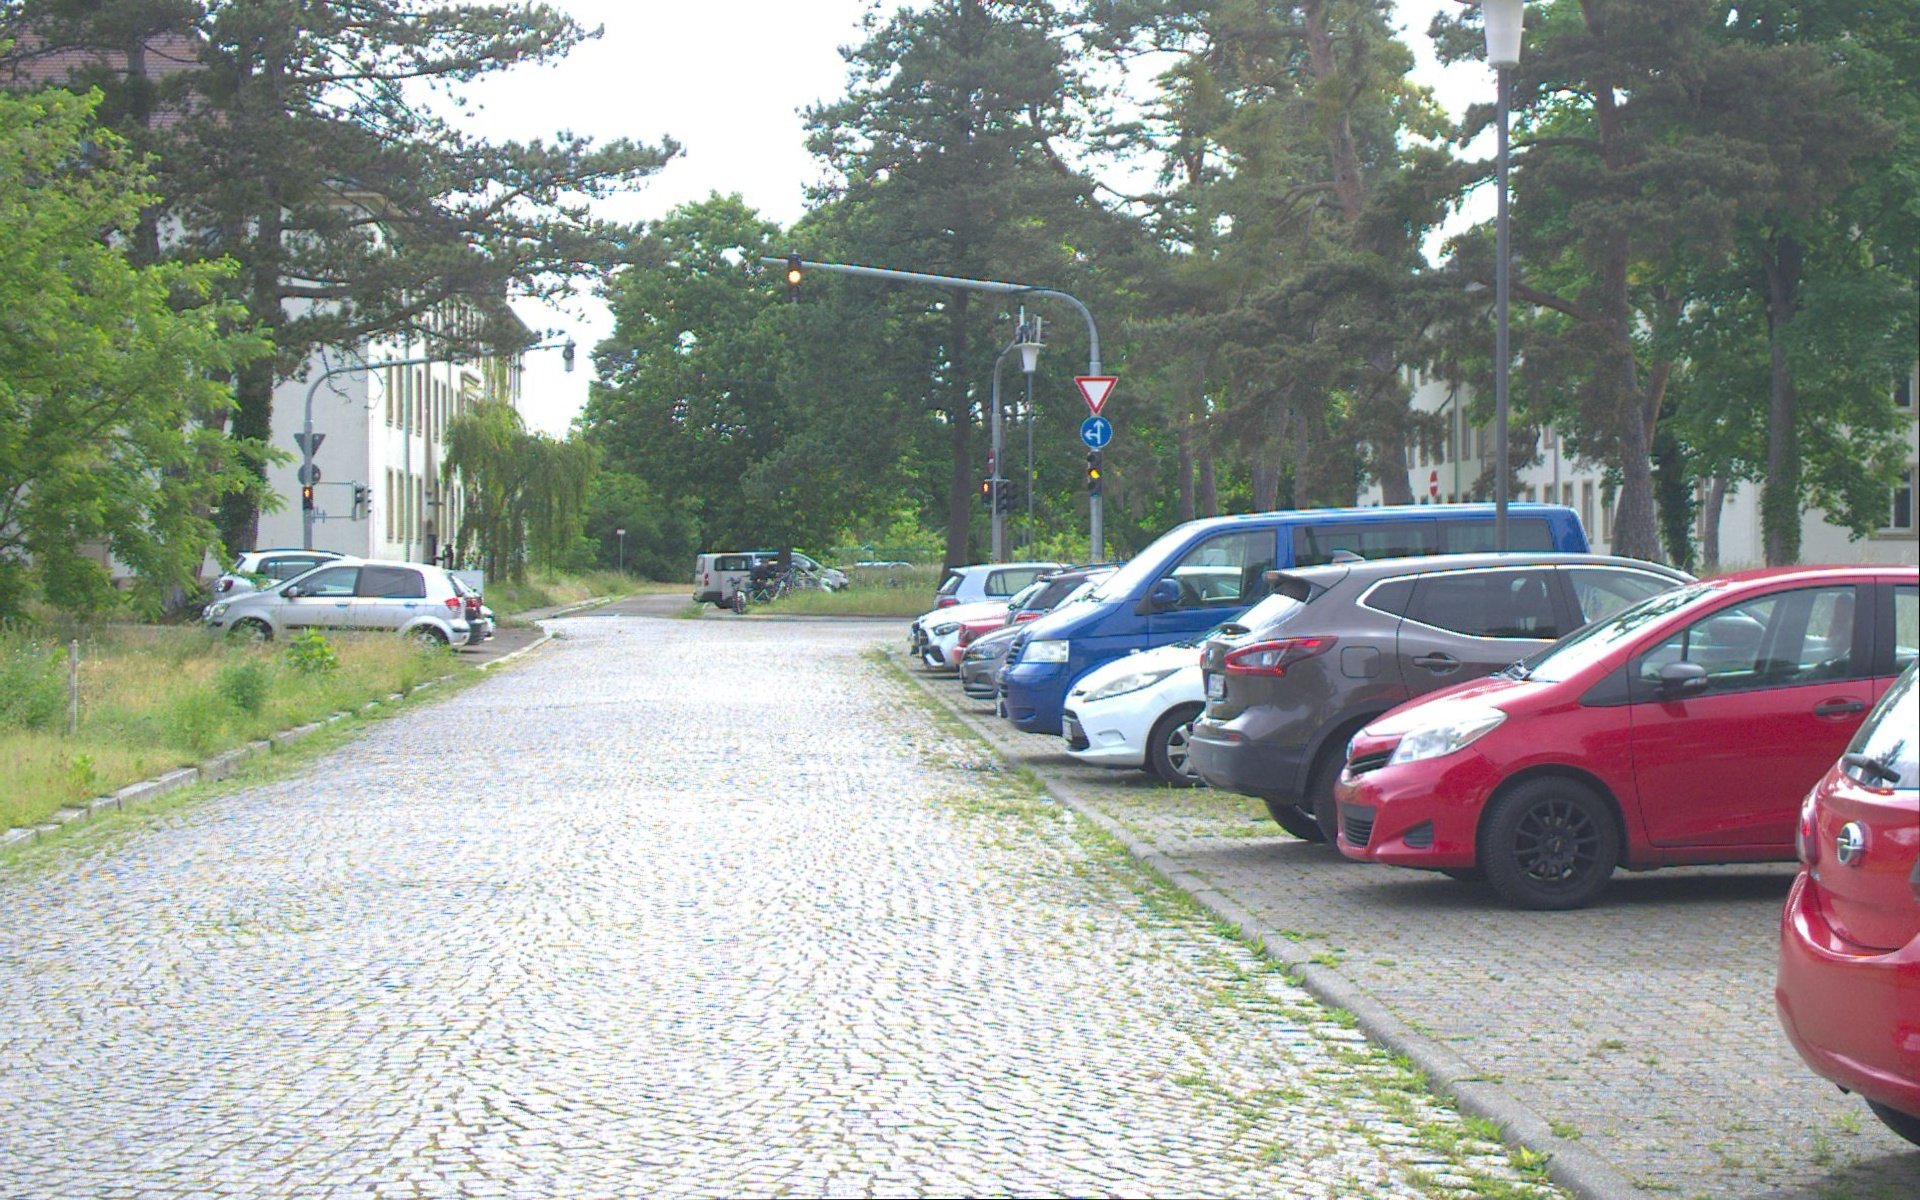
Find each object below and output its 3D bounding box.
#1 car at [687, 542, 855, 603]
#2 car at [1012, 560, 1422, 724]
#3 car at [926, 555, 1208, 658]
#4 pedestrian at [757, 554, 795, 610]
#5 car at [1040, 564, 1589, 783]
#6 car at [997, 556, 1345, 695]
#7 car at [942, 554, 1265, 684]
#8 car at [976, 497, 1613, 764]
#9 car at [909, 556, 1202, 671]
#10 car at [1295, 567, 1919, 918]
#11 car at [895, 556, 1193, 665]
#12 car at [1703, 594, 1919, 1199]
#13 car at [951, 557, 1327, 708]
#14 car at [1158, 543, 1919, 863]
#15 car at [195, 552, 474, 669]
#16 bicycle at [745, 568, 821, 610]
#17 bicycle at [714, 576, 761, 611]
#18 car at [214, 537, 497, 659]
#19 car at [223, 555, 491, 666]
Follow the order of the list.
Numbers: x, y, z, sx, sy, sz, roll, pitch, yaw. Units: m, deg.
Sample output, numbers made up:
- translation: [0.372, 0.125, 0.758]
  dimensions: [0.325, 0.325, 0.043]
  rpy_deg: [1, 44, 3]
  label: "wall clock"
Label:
- translation: [-6.478, -0.943, 117.748]
  dimensions: [5.444, 2.007, 2.269]
  rpy_deg: [1, 0, -12]
  label: "car"
- translation: [2.412, 0.384, 32.742]
  dimensions: [3.671, 1.444, 1.524]
  rpy_deg: [-1, 0, -5]
  label: "car"
- translation: [1.569, 0.089, 51.241]
  dimensions: [3.967, 1.416, 1.620]
  rpy_deg: [-1, 0, -7]
  label: "car"
- translation: [-5.363, -0.532, 100.216]
  dimensions: [1.033, 1.608, 0.758]
  rpy_deg: [1, 0, -8]
  label: "pedestrian"
- translation: [2.517, 0.502, 24.865]
  dimensions: [3.671, 1.444, 1.615]
  rpy_deg: [-1, 0, -6]
  label: "car"
- translation: [2.333, 0.268, 38.513]
  dimensions: [3.671, 1.444, 1.524]
  rpy_deg: [-1, 0, -5]
  label: "car"
- translation: [1.687, 0.215, 41.189]
  dimensions: [3.671, 1.444, 1.524]
  rpy_deg: [-1, 0, -5]
  label: "car"
- translation: [2.601, 0.220, 27.463]
  dimensions: [4.753, 1.948, 1.932]
  rpy_deg: [-1, 0, -5]
  label: "car"
- translation: [1.253, 0.166, 45.710]
  dimensions: [3.671, 1.416, 1.524]
  rpy_deg: [-1, 0, -7]
  label: "car"
- translation: [3.578, 0.601, 15.880]
  dimensions: [3.791, 1.455, 1.751]
  rpy_deg: [-1, 0, -3]
  label: "car"
- translation: [1.162, 0.138, 48.565]
  dimensions: [3.967, 1.416, 1.620]
  rpy_deg: [-1, 0, -7]
  label: "car"
- translation: [3.940, 0.688, 8.298]
  dimensions: [3.825, 1.455, 1.779]
  rpy_deg: [-1, 0, -4]
  label: "car"
- translation: [1.817, 0.319, 35.493]
  dimensions: [3.671, 1.444, 1.524]
  rpy_deg: [-1, 0, -5]
  label: "car"
- translation: [3.213, 0.510, 18.515]
  dimensions: [4.028, 1.547, 1.751]
  rpy_deg: [-1, 0, -6]
  label: "car"
- translation: [-8.987, 0.142, 49.606]
  dimensions: [3.821, 1.567, 1.565]
  rpy_deg: [-1, 0, -6]
  label: "car"
- translation: [-5.144, -0.321, 99.886]
  dimensions: [2.136, 1.210, 0.622]
  rpy_deg: [1, 0, -8]
  label: "bicycle"
- translation: [-6.197, -0.194, 95.755]
  dimensions: [0.620, 0.942, 1.663]
  rpy_deg: [1, 1, -31]
  label: "bicycle"
- translation: [-9.628, -0.043, 54.983]
  dimensions: [4.262, 1.834, 1.744]
  rpy_deg: [-1, 0, -4]
  label: "car"
- translation: [-9.094, 0.153, 52.021]
  dimensions: [3.821, 1.567, 1.564]
  rpy_deg: [-1, 0, -4]
  label: "car"
